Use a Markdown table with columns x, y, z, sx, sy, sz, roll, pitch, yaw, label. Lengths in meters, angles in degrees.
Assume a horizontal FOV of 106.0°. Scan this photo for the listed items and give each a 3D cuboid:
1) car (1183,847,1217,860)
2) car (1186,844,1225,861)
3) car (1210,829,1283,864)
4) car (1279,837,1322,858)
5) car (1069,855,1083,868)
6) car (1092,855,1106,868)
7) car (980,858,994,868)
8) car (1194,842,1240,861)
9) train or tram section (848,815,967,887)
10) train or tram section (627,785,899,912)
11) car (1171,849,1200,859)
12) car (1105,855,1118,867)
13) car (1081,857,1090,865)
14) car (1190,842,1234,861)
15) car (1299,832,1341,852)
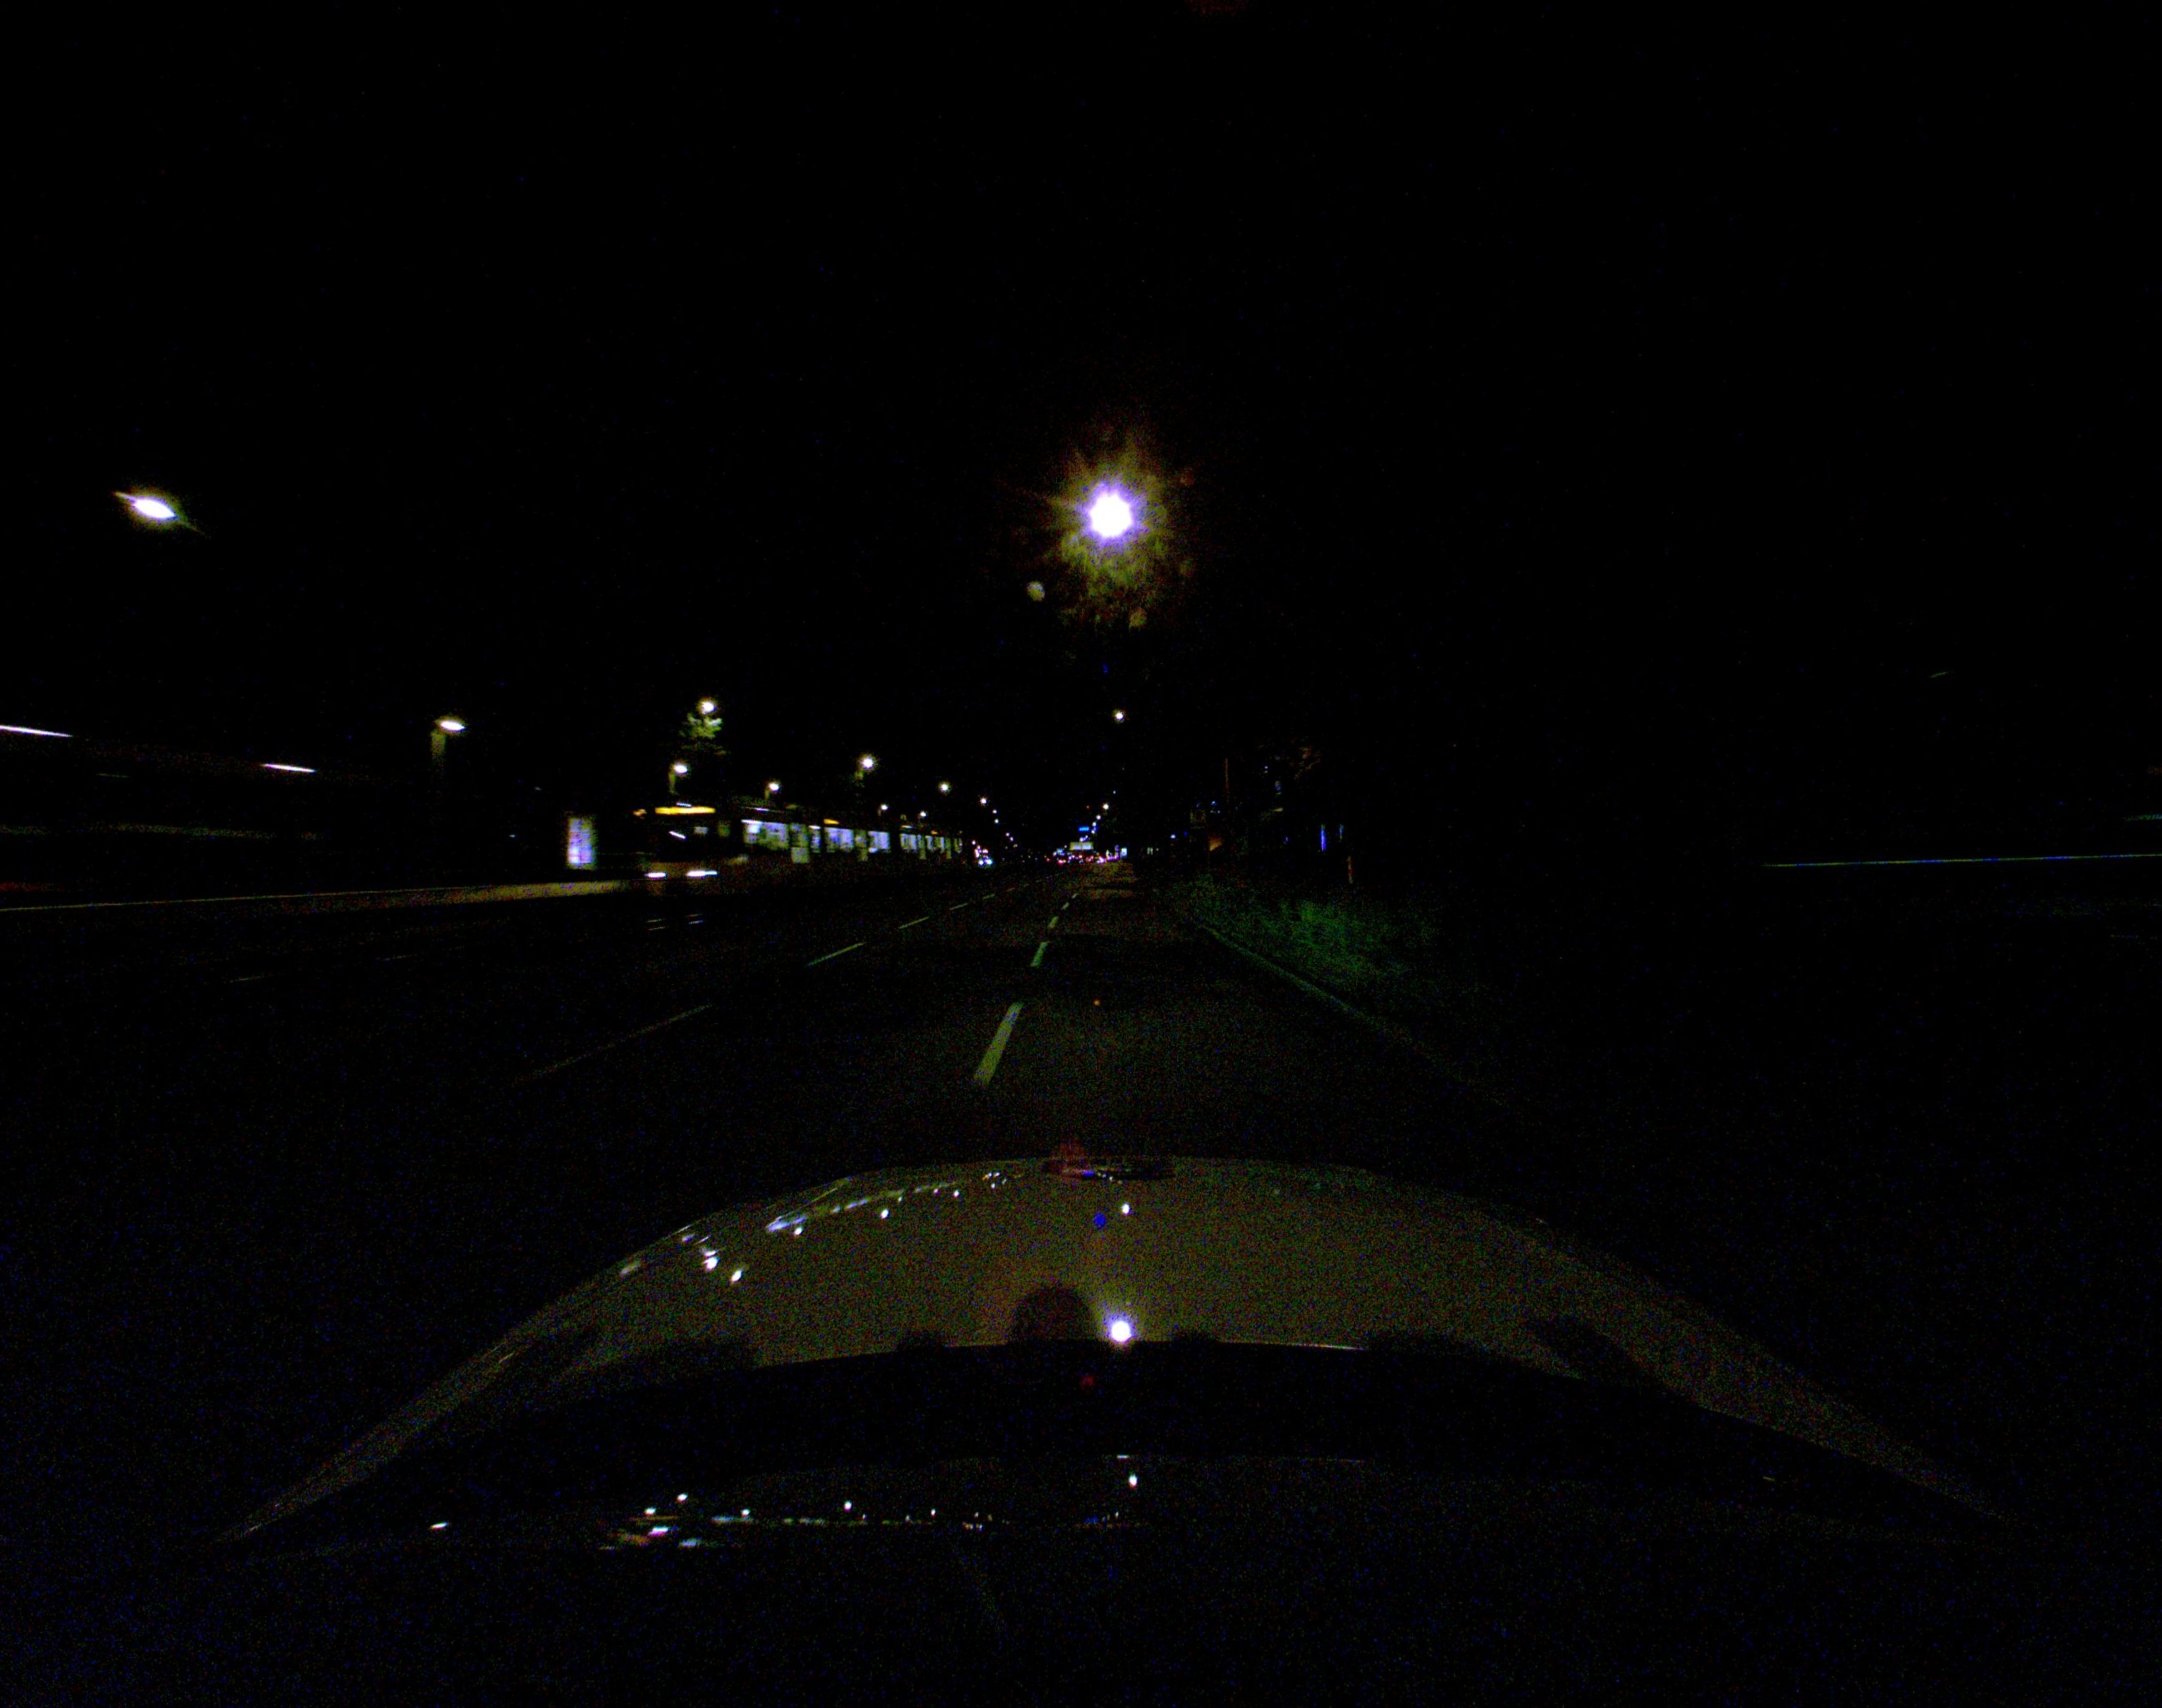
| x | y | z | sx | sy | sz | roll | pitch | yaw | label |
| --- | --- | --- | --- | --- | --- | --- | --- | --- | --- |
| 15.228 | -0.057 | 104.160 | 3.805 | 1.453 | 1.710 | -4 | 0 | -12 | car |
| 14.621 | -0.168 | 95.697 | 4.080 | 1.568 | 1.849 | -6 | 1 | -9 | car |
| 15.194 | -0.713 | 74.969 | 6.028 | 2.529 | 2.272 | -7 | 1 | -15 | car |
| 20.225 | -0.592 | 75.222 | 1.811 | 1.712 | 3.940 | -2 | -1 | -20 | car |
| -0.797 | 1.264 | 135.743 | 2.254 | 2.014 | 4.827 | -1 | -1 | 2 | car |
| 3.074 | 1.228 | 139.252 | 2.347 | 2.129 | 4.827 | -1 | -1 | 1 | car |
| -15.418 | 1.445 | 133.380 | 1.653 | 1.516 | 3.914 | -1 | -1 | 4 | car |
| 14.984 | -0.287 | 89.872 | 4.459 | 1.810 | 1.994 | -4 | 0 | -9 | car |
| -10.742 | -0.151 | 53.632 | 2.747 | 3.827 | 18.686 | -1 | 0 | 3 | train or tram section |
| -11.914 | -0.160 | 34.595 | 2.726 | 3.846 | 19.382 | -1 | 0 | 4 | train or tram section |
| 15.812 | -0.066 | 122.989 | 3.995 | 1.424 | 1.899 | -1 | 1 | -16 | car |
| 5.576 | 1.285 | 150.002 | 2.418 | 2.113 | 4.827 | -1 | -1 | 1 | car |
| 0.912 | 1.597 | 181.291 | 1.880 | 1.860 | 4.001 | -1 | -1 | 2 | car |
| 14.882 | -0.289 | 92.641 | 4.460 | 1.687 | 1.994 | -6 | 1 | -9 | car |
| 23.070 | -1.109 | 78.664 | 1.800 | 1.577 | 3.940 | -7 | 1 | -20 | car |
